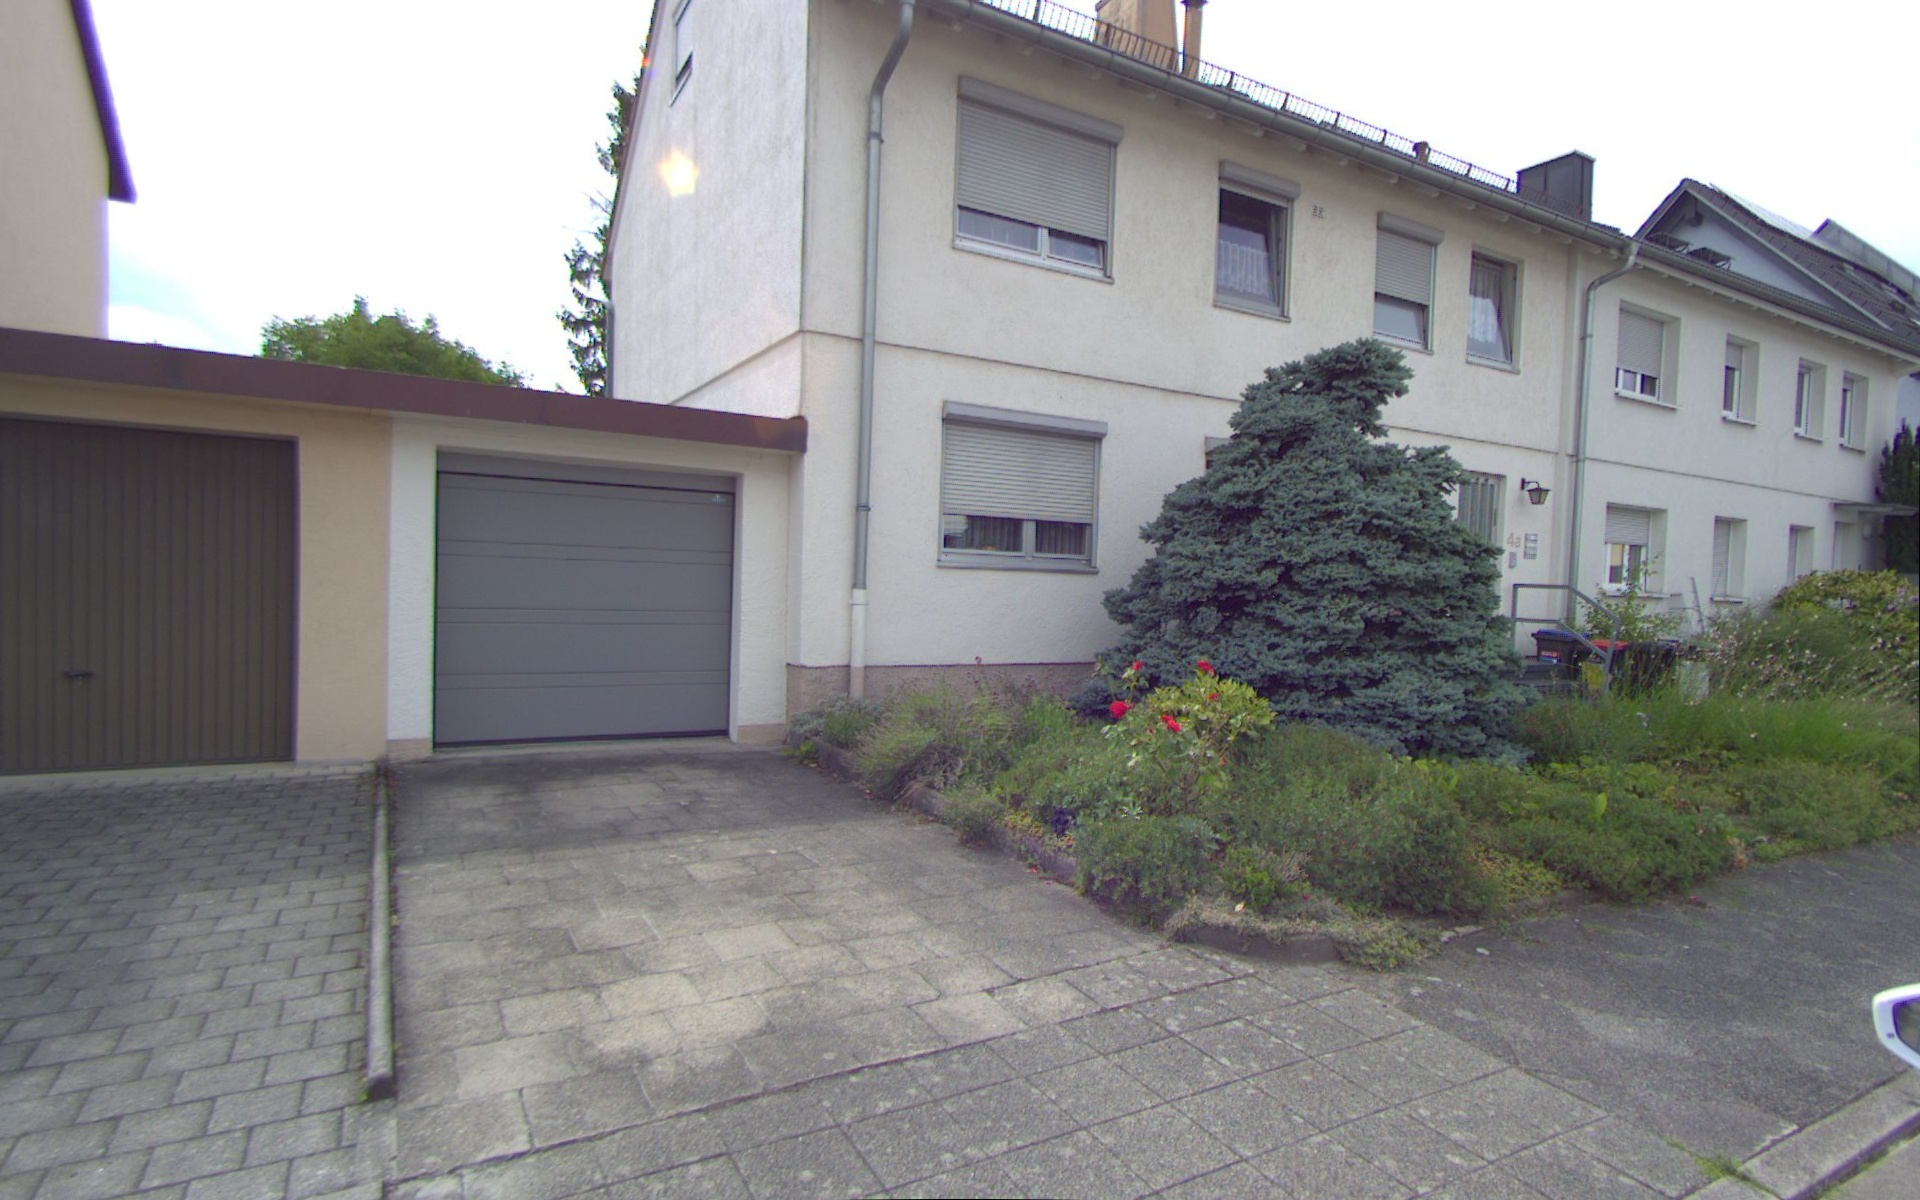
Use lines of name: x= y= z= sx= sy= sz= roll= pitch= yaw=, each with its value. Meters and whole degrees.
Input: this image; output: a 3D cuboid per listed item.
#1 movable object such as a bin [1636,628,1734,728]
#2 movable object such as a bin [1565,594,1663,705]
movable object such as a bin: x=7.935 y=0.835 z=11.003 sx=0.591 sy=1.021 sz=0.672 roll=1 pitch=1 yaw=-29
movable object such as a bin: x=7.715 y=0.562 z=11.853 sx=0.725 sy=1.256 sz=0.693 roll=1 pitch=1 yaw=-29
